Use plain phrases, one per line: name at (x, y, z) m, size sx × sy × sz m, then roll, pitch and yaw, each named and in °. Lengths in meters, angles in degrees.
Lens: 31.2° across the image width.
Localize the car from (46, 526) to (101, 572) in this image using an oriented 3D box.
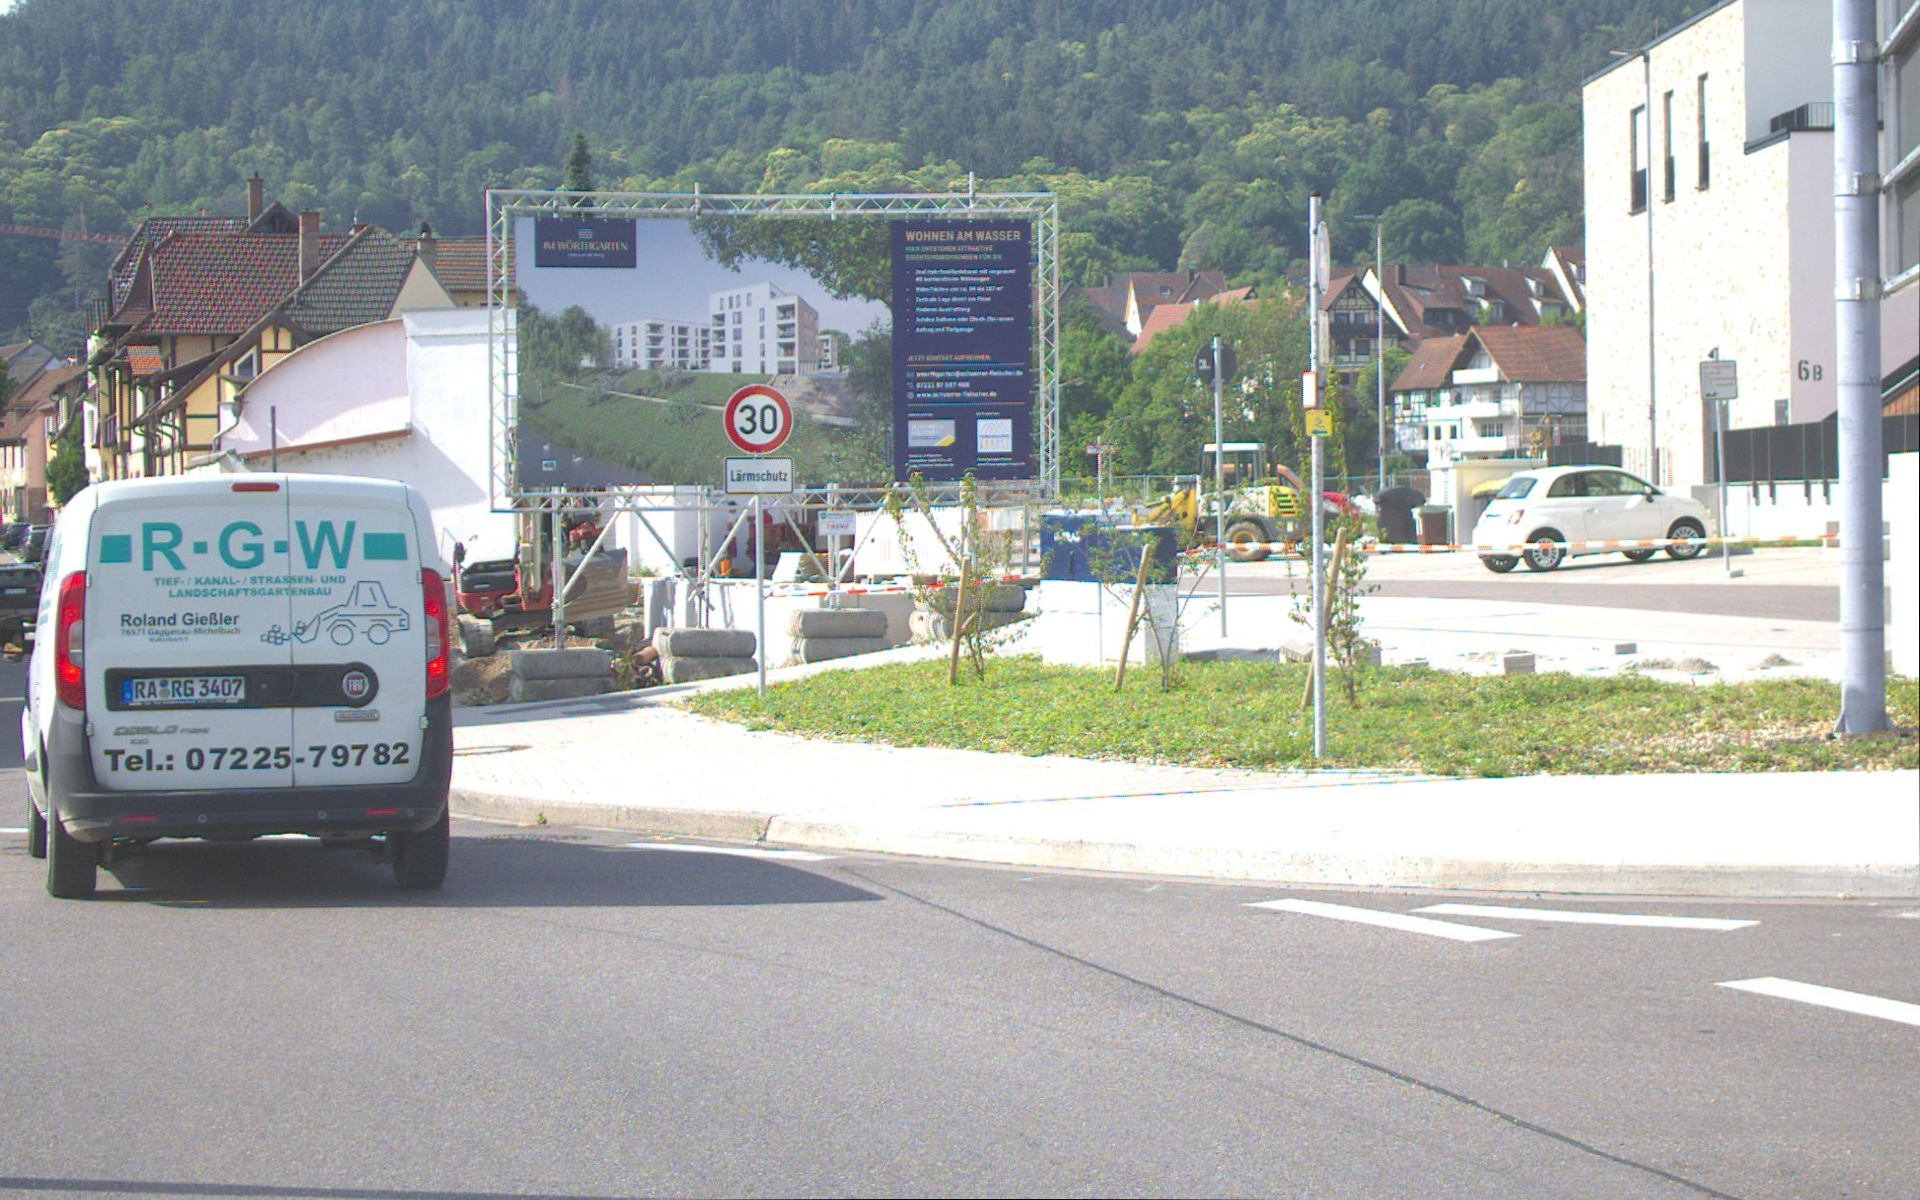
car at (-32.961, -1.894, 127.737) m, size 1.810 × 1.591 × 3.928 m, roll 1°, pitch 2°, yaw -16°

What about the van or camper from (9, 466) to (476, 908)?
van or camper at (-3.581, 0.372, 16.595) m, size 1.827 × 1.838 × 4.189 m, roll -1°, pitch 0°, yaw -17°

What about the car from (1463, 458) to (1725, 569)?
car at (9.364, -1.274, 50.859) m, size 3.404 × 1.490 × 1.595 m, roll -3°, pitch 0°, yaw -17°

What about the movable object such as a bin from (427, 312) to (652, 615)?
movable object such as a bin at (-6.001, -1.807, 48.072) m, size 2.294 × 3.841 × 7.801 m, roll 1°, pitch 1°, yaw -13°

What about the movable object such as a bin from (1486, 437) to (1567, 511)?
movable object such as a bin at (11.593, -2.579, 70.408) m, size 1.299 × 1.459 × 1.320 m, roll 1°, pitch 2°, yaw -6°

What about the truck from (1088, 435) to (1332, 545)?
truck at (5.746, -2.513, 78.637) m, size 5.316 × 2.258 × 2.218 m, roll -2°, pitch 1°, yaw 10°

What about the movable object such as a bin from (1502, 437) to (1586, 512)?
movable object such as a bin at (11.716, -2.519, 69.002) m, size 1.299 × 1.459 × 1.320 m, roll 1°, pitch 2°, yaw -6°

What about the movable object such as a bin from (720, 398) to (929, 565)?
movable object such as a bin at (-3.023, -2.681, 78.472) m, size 2.852 × 3.609 × 5.731 m, roll 2°, pitch 2°, yaw 18°

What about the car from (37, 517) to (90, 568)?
car at (-35.825, -2.311, 137.356) m, size 1.870 × 2.006 × 4.001 m, roll -1°, pitch 2°, yaw -17°

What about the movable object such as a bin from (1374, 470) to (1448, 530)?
movable object such as a bin at (9.901, -2.203, 75.515) m, size 1.295 × 1.263 × 1.320 m, roll 1°, pitch 2°, yaw -6°

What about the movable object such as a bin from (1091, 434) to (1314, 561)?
movable object such as a bin at (5.338, -2.239, 75.389) m, size 4.614 × 2.560 × 1.925 m, roll -2°, pitch 1°, yaw 9°

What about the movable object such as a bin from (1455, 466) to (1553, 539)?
movable object such as a bin at (11.369, -2.036, 71.839) m, size 1.692 × 1.459 × 1.320 m, roll 1°, pitch 2°, yaw -6°

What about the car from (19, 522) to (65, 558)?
car at (-40.845, -2.678, 152.940) m, size 1.669 × 1.503 × 4.001 m, roll -2°, pitch 2°, yaw -18°

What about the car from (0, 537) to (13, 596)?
car at (-28.174, -0.990, 98.519) m, size 1.810 × 1.591 × 3.928 m, roll 1°, pitch 2°, yaw -13°

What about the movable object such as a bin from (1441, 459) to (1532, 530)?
movable object such as a bin at (11.218, -2.251, 73.321) m, size 1.579 × 1.459 × 1.320 m, roll 1°, pitch 2°, yaw -6°

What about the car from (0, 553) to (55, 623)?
car at (-23.238, -0.315, 84.553) m, size 1.810 × 1.591 × 3.928 m, roll 1°, pitch 2°, yaw -16°
